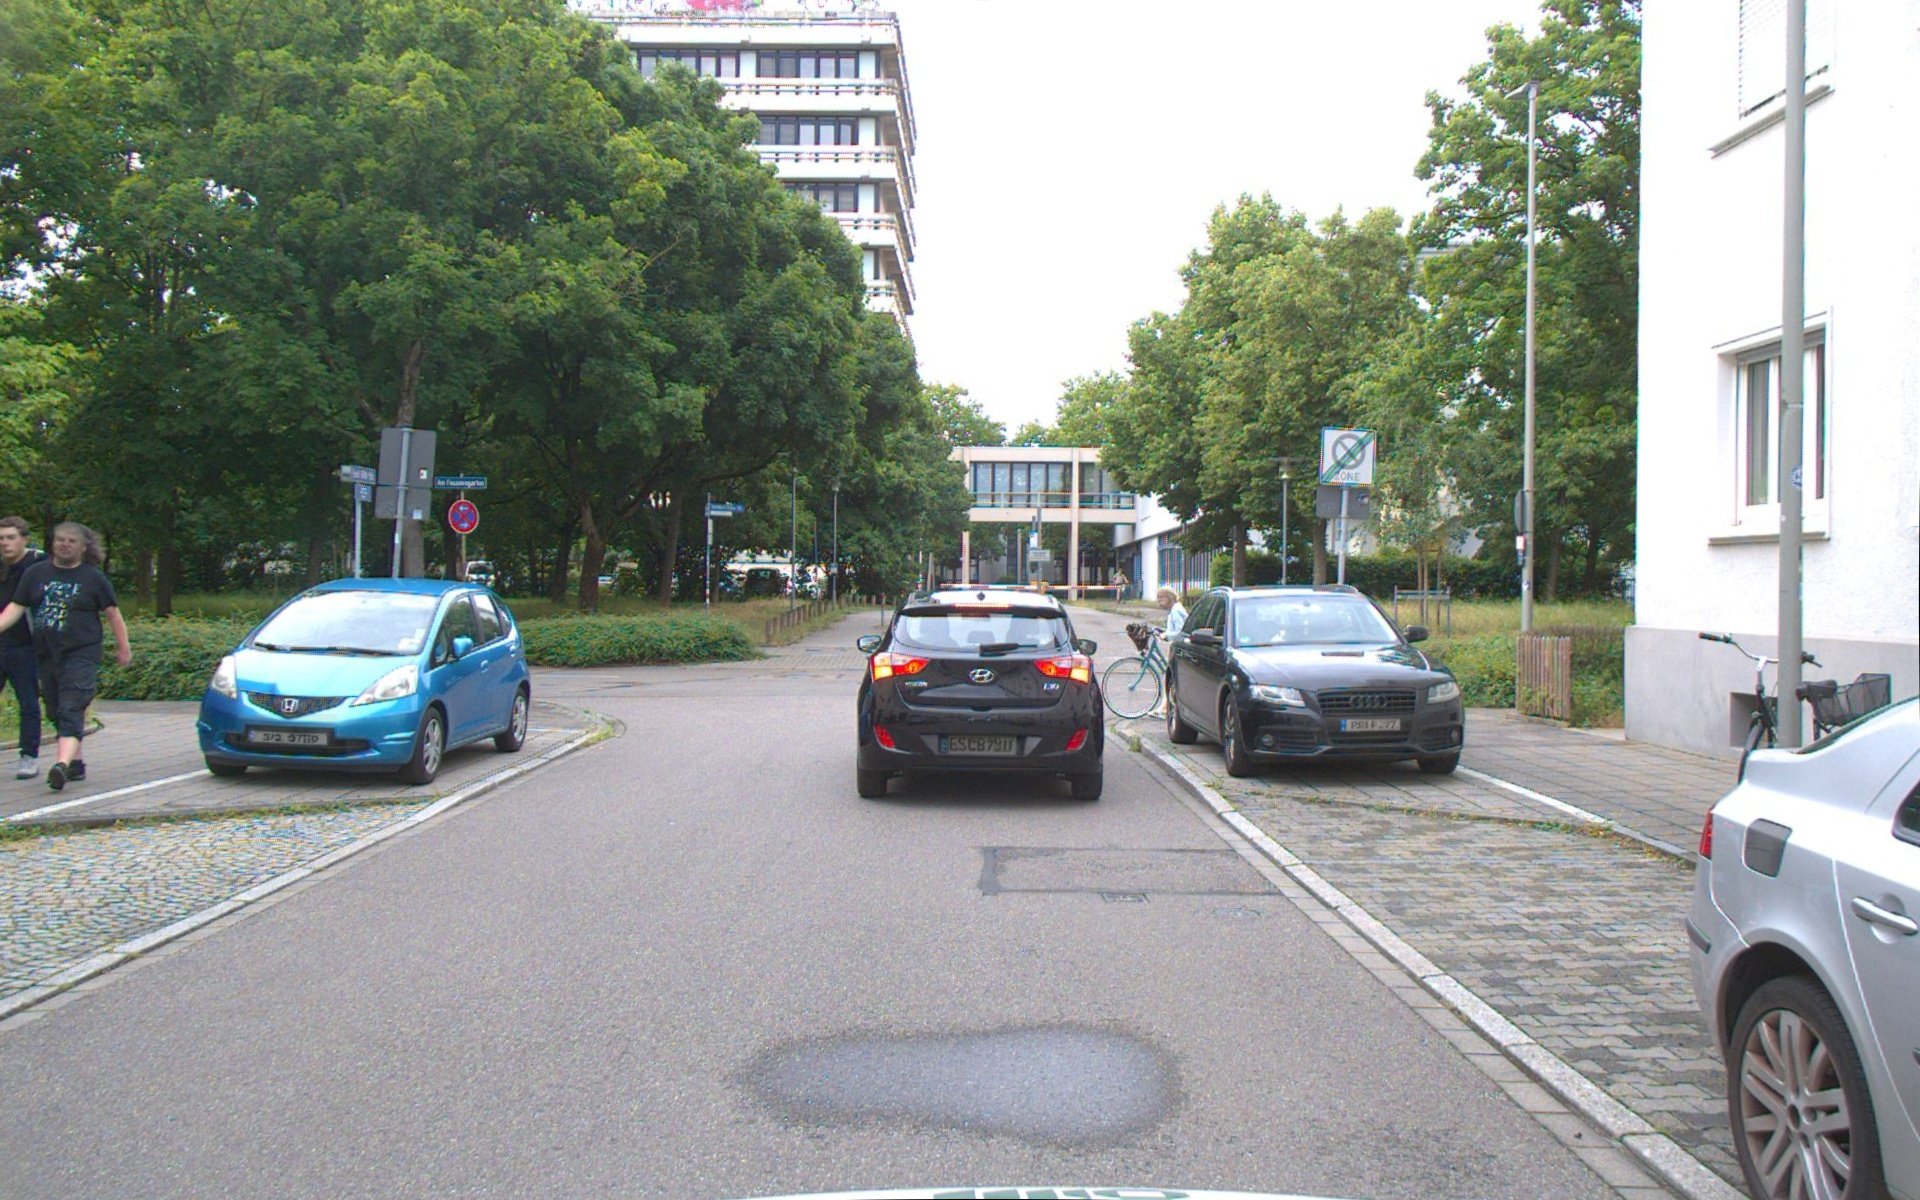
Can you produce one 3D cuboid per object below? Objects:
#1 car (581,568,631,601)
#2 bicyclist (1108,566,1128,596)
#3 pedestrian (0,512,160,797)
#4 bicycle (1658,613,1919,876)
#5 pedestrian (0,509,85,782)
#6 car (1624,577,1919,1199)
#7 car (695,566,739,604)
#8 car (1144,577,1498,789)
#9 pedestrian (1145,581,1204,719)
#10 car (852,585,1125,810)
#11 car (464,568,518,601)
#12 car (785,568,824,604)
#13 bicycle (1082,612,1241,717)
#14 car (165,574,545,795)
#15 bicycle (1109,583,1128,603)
[{"bbox_3d":[-18.265,-0.819,85.493,1.954,1.646,3.997,0,1,-4],"label":"car"},{"bbox_3d":[8.734,-1.064,91.298,0.996,1.673,0.923,0,1,1],"label":"bicyclist"},{"bbox_3d":[-6.197,0.363,11.612,0.627,1.896,0.974,2,0,-1],"label":"pedestrian"},{"bbox_3d":[4.601,0.713,9.036,0.733,1.221,1.895,-2,1,-1],"label":"bicycle"},{"bbox_3d":[-6.800,0.311,11.814,0.692,1.886,0.763,0,0,-1],"label":"pedestrian"},{"bbox_3d":[2.784,0.711,2.433,1.698,1.488,4.429,0,1,-2],"label":"car"},{"bbox_3d":[-12.557,-0.750,85.792,1.954,1.825,3.996,0,-1,-4],"label":"car"},{"bbox_3d":[2.837,0.560,14.141,1.823,1.488,4.724,-1,1,-2],"label":"car"},{"bbox_3d":[2.499,0.572,19.267,0.555,1.576,0.447,-2,1,-7],"label":"pedestrian"},{"bbox_3d":[0.113,0.644,12.968,1.809,1.488,3.826,1,0,-3],"label":"car"},{"bbox_3d":[-24.347,-0.798,85.979,1.880,1.646,3.997,0,1,-4],"label":"car"},{"bbox_3d":[-8.056,-0.693,85.884,1.954,1.792,3.996,0,0,-4],"label":"car"},{"bbox_3d":[2.389,0.754,19.653,1.779,1.139,0.537,-2,1,-9],"label":"bicycle"},{"bbox_3d":[-4.790,0.575,13.724,1.695,1.488,3.956,3,1,-1],"label":"car"},{"bbox_3d":[8.763,-0.404,91.345,0.849,1.093,2.142,0,1,1],"label":"bicycle"}]
